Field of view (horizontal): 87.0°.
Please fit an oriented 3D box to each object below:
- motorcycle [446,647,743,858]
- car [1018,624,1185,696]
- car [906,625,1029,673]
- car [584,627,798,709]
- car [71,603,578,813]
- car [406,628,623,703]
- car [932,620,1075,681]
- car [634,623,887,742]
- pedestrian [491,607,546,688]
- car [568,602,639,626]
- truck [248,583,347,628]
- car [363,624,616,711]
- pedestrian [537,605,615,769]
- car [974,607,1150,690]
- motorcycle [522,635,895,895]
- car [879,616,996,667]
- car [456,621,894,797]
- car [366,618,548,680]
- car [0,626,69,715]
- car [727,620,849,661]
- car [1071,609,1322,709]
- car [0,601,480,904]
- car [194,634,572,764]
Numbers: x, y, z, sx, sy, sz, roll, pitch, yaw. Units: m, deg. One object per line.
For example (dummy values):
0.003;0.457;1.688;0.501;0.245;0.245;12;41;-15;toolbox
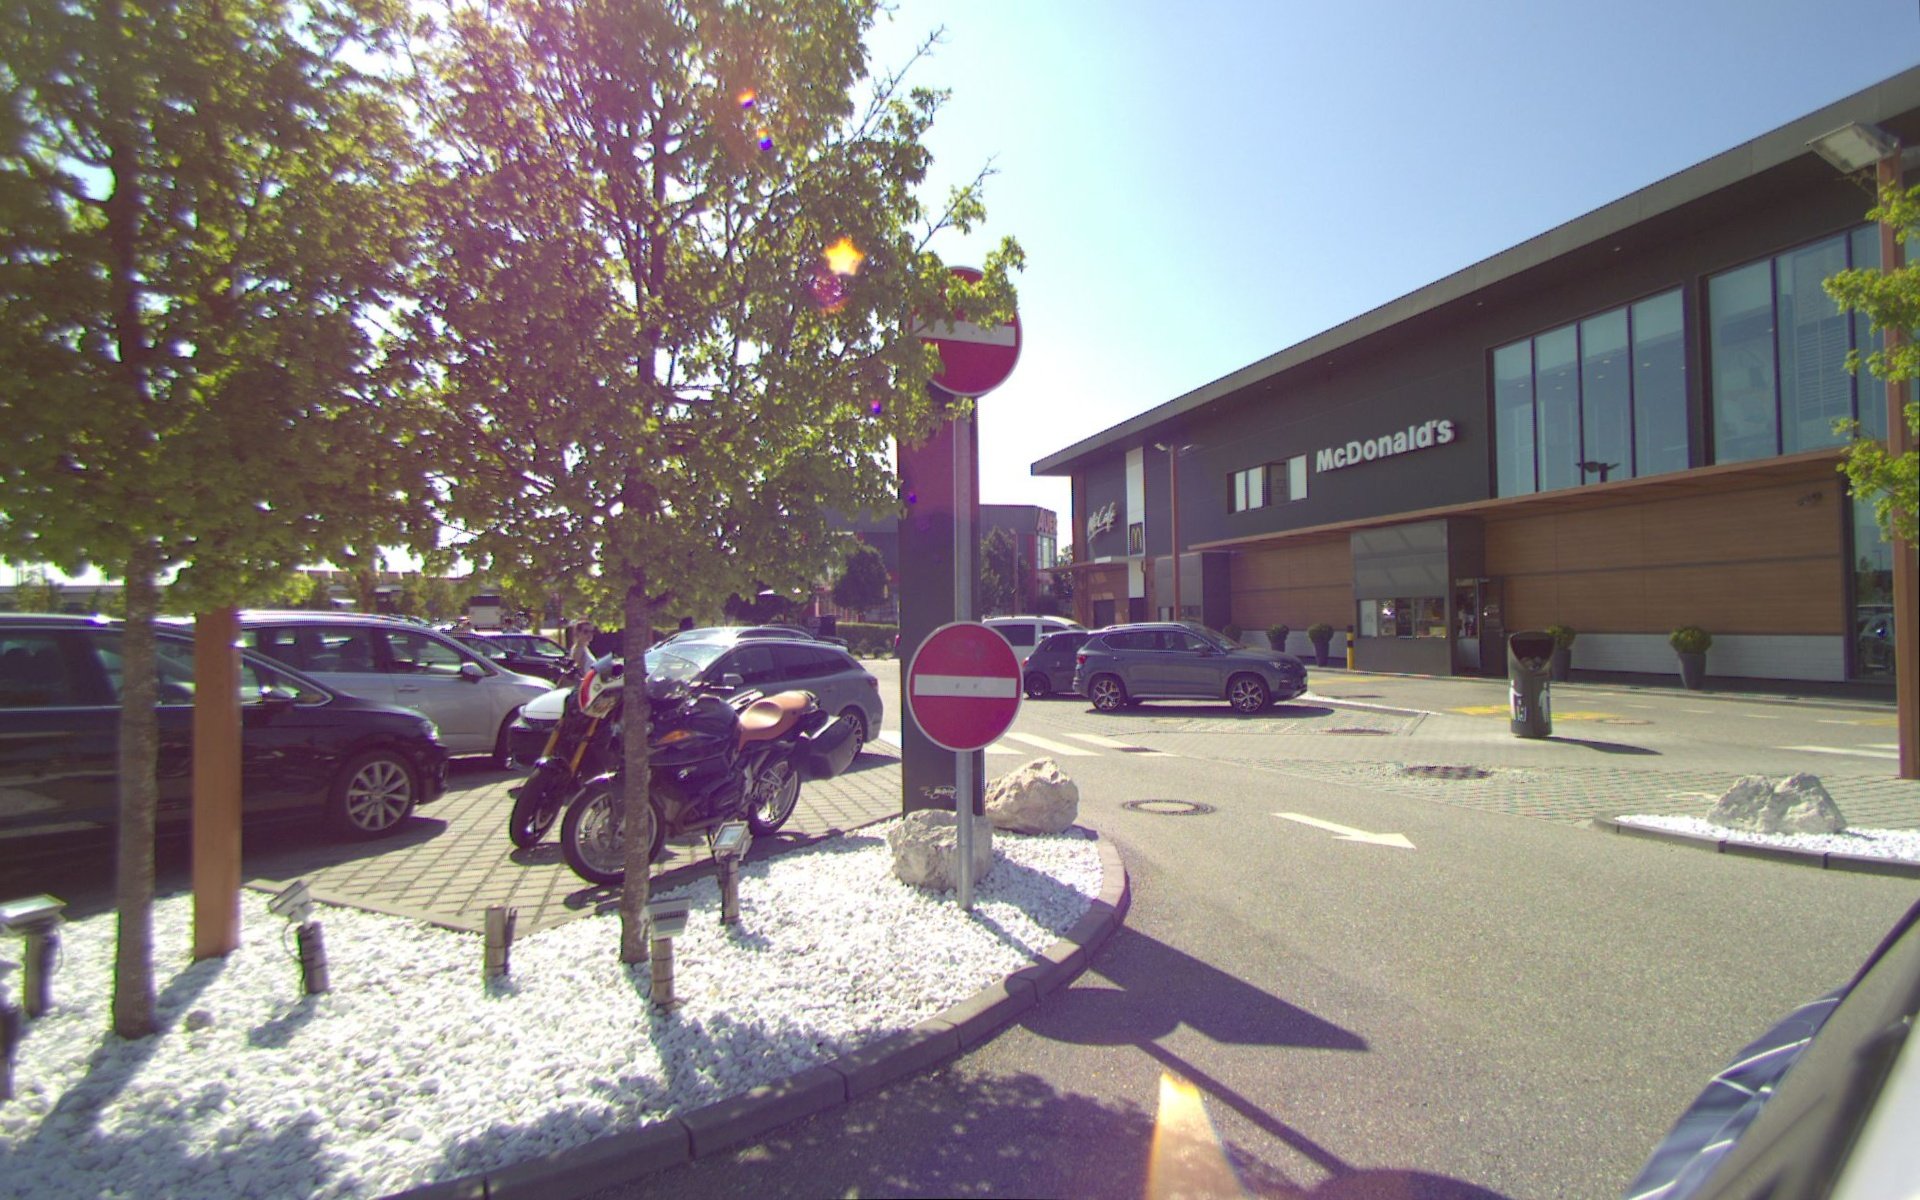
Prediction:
-2.489;0.971;7.240;0.811;1.247;2.125;-2;-3;21;motorcycle
3.147;1.306;22.471;3.376;1.501;1.556;-2;-2;23;car
0.274;1.570;32.674;3.714;1.462;1.668;-2;-2;12;car
-5.612;1.362;21.710;1.870;1.530;4.495;-1;-1;29;car
-6.088;0.916;10.250;1.732;1.661;4.026;-1;-2;28;car
-10.266;1.451;23.677;1.966;1.530;4.371;-1;-1;29;car
1.254;1.425;29.091;3.792;1.653;1.748;-1;-2;18;car
-3.038;1.201;16.160;1.797;1.614;3.954;-1;-2;32;car
-10.852;1.158;24.903;1.008;1.940;0.903;0;-2;-4;pedestrian
-34.708;1.396;98.760;6.433;2.273;2.305;0;-2;-17;car
-52.182;0.450;79.726;7.463;3.395;2.408;0;-1;18;truck
-9.369;1.269;20.544;1.966;1.530;4.371;-1;-1;29;car
-4.212;0.928;11.106;0.607;1.735;0.556;-2;-2;37;pedestrian
2.579;1.193;25.590;4.098;1.946;1.744;-1;-2;24;car
-1.404;0.876;6.225;1.060;1.267;2.231;-3;-4;25;motorcycle
-0.771;1.469;36.165;3.969;1.728;1.672;-1;-1;6;car
-2.740;1.023;10.944;1.820;1.466;4.611;-2;-3;30;car
-12.677;1.207;25.724;1.692;1.444;3.860;-1;-2;31;car
-17.058;1.160;17.037;3.961;1.421;1.803;-1;-2;28;car
-7.402;1.721;43.514;4.958;1.651;1.928;0;-1;-18;car
4.365;1.109;18.801;4.187;1.623;1.774;-4;-1;28;car
-5.433;0.811;6.298;1.878;1.557;4.149;-1;-2;28;car
-7.408;1.174;13.444;1.777;1.426;4.041;-1;-2;28;car
